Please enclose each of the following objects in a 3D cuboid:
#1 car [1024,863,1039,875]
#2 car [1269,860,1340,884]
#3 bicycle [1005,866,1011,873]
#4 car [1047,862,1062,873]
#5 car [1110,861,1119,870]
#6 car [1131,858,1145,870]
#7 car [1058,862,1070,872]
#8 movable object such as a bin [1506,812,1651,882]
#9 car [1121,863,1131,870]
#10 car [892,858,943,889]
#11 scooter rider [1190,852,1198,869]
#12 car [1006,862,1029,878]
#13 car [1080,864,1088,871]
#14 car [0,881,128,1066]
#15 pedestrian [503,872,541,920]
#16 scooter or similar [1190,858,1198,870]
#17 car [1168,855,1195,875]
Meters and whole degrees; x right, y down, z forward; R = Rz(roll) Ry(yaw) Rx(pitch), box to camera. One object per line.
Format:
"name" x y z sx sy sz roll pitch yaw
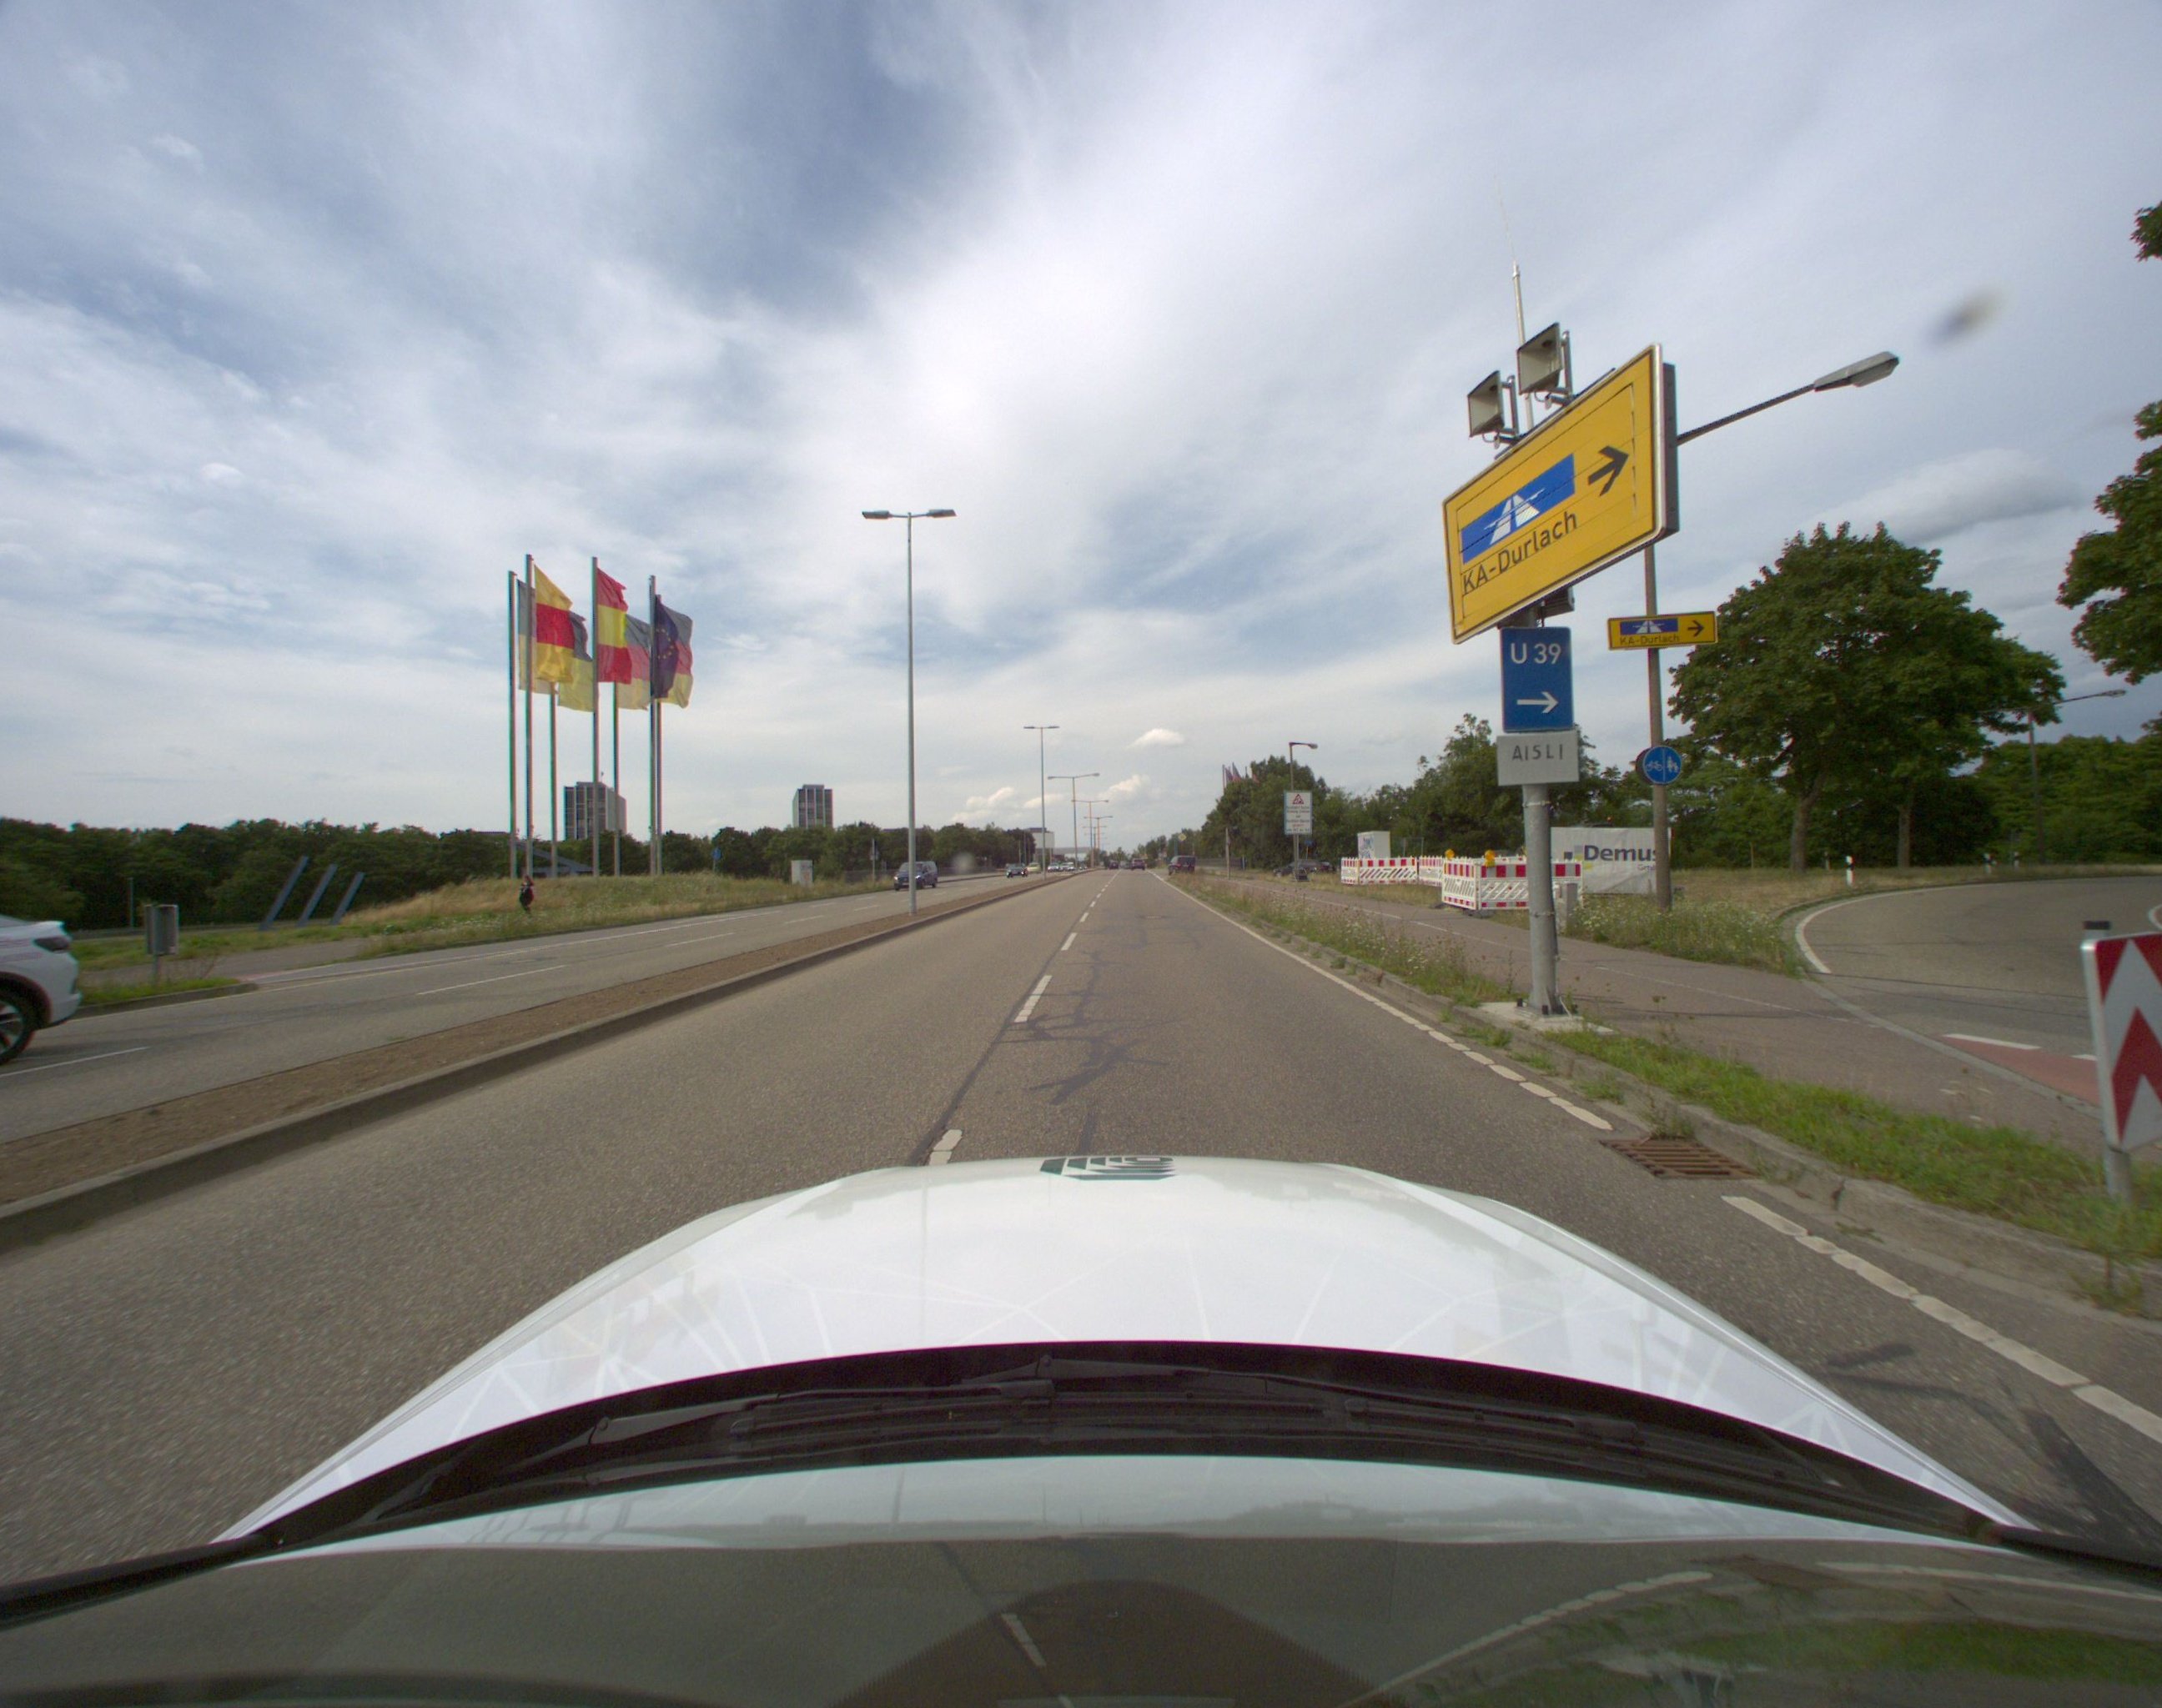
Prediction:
"car" -6.807 2.053 112.956 1.542 1.578 3.693 -3 0 3
"car" 14.341 1.167 52.351 1.746 1.395 4.064 -2 0 -44
"bicycle" -11.780 2.512 131.938 0.704 1.049 2.060 -1 -1 1
"car" -4.129 2.170 128.599 1.641 1.515 4.023 -3 0 6
"car" 6.409 2.149 156.025 1.723 1.653 4.118 -1 -1 4
"car" 7.786 1.398 110.860 1.724 1.653 4.116 -1 -1 2
"car" -3.300 2.557 159.300 1.854 1.725 4.775 -3 -1 4
"movable object such as a bin" 19.859 -0.248 32.700 4.477 2.689 2.106 -1 -1 7
"car" 10.649 2.898 192.048 1.728 1.526 4.106 0 -1 -6
"car" -11.089 1.269 55.680 1.839 1.893 5.511 -4 0 4
"scooter rider" 11.704 0.685 84.433 0.586 1.690 0.742 0 -1 -5
"car" -6.499 1.591 83.579 1.756 1.441 4.180 -3 0 3
"car" 0.687 3.416 204.642 1.731 1.481 4.779 -3 -2 3
"car" -10.657 1.151 5.955 1.840 1.601 4.563 -2 1 2
"pedestrian" -20.712 1.561 30.192 0.862 1.693 0.679 -3 0 1
"scooter or similar" 11.705 1.062 84.437 0.587 1.224 1.200 0 -1 -5
"car" 8.764 0.973 71.078 1.726 1.653 4.111 -1 -1 -2
